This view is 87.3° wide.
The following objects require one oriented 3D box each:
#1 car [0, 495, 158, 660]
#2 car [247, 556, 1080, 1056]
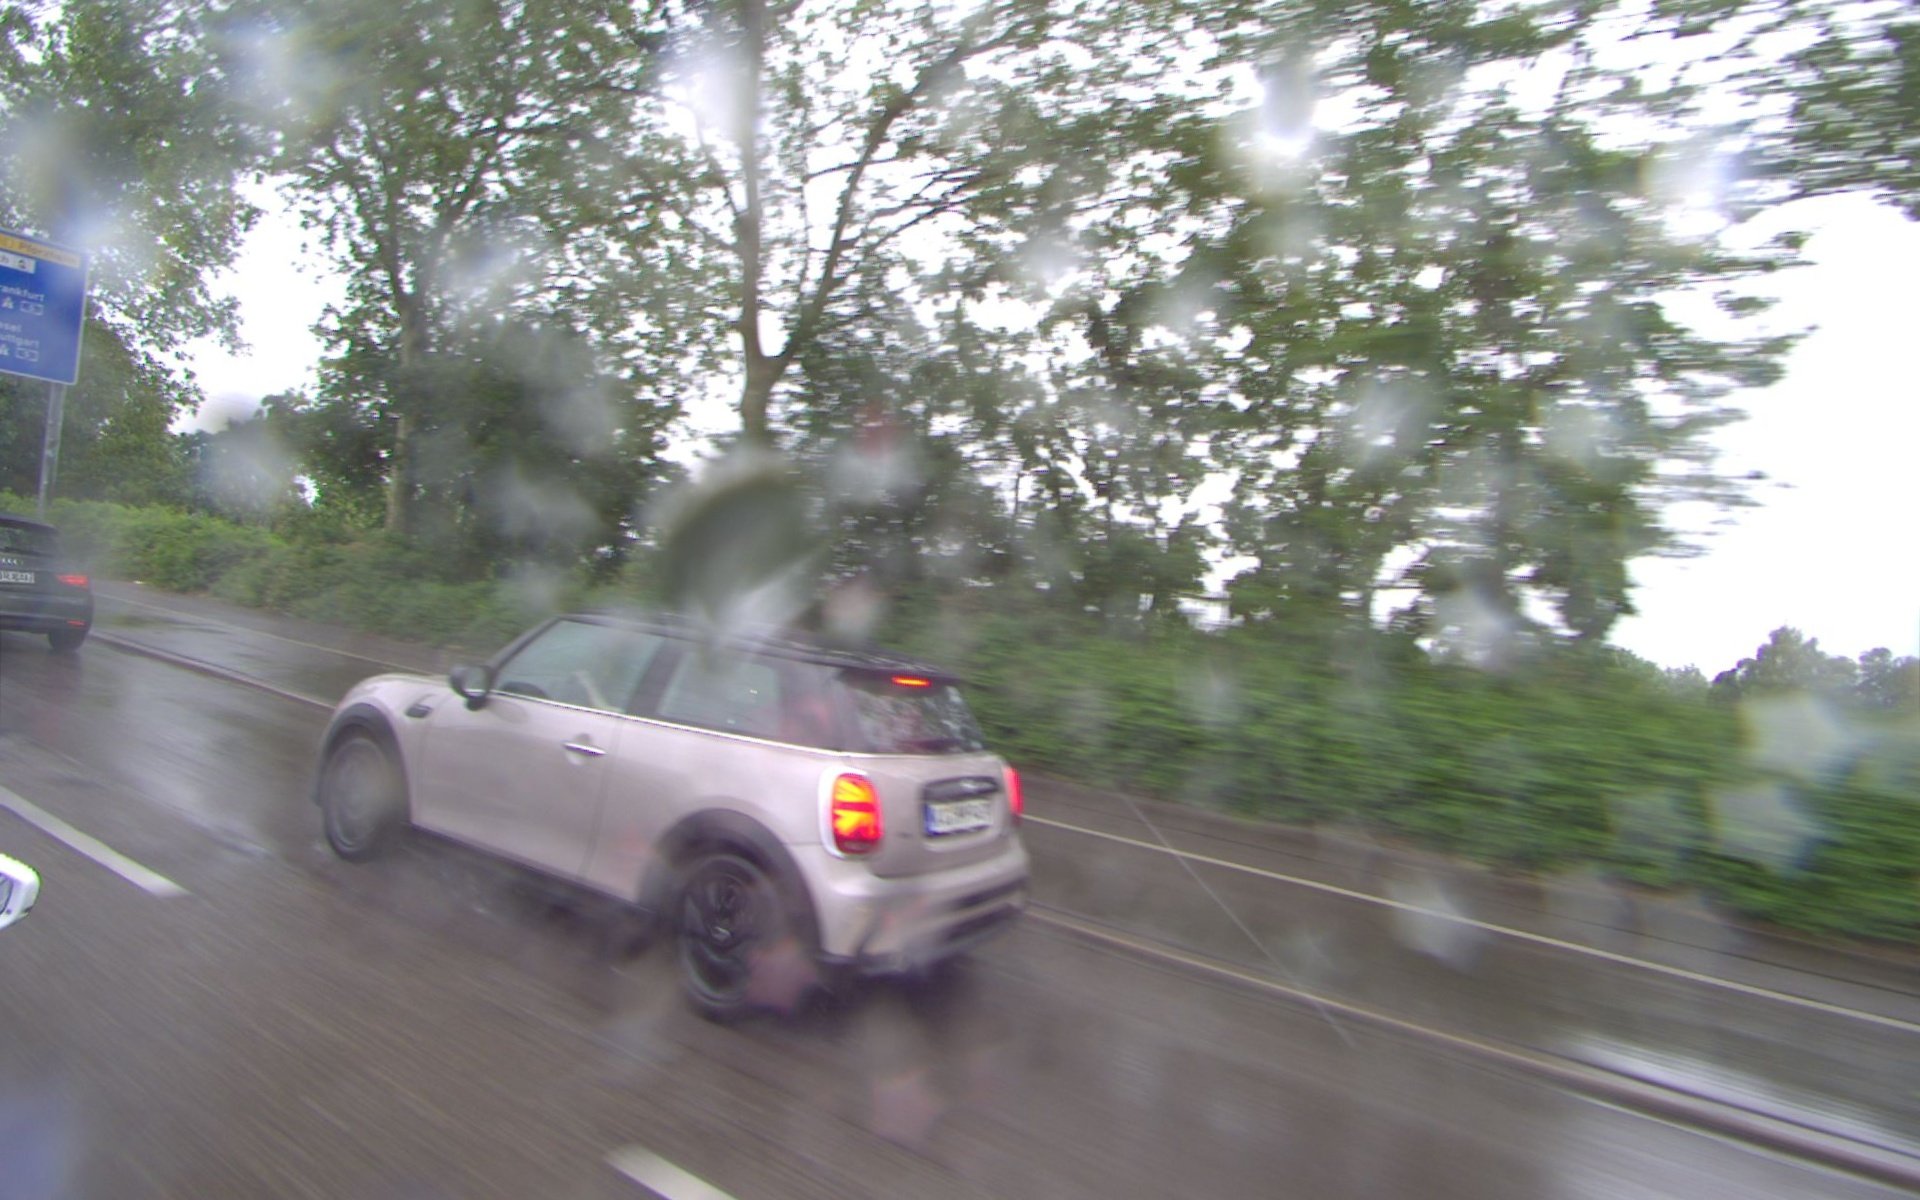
[{"bbox_3d":[-10.962,-0.427,11.077,3.924,1.546,1.972,7,-2,31],"label":"car"},{"bbox_3d":[-1.564,0.743,5.060,3.790,1.429,1.796,5,-4,31],"label":"car"}]
